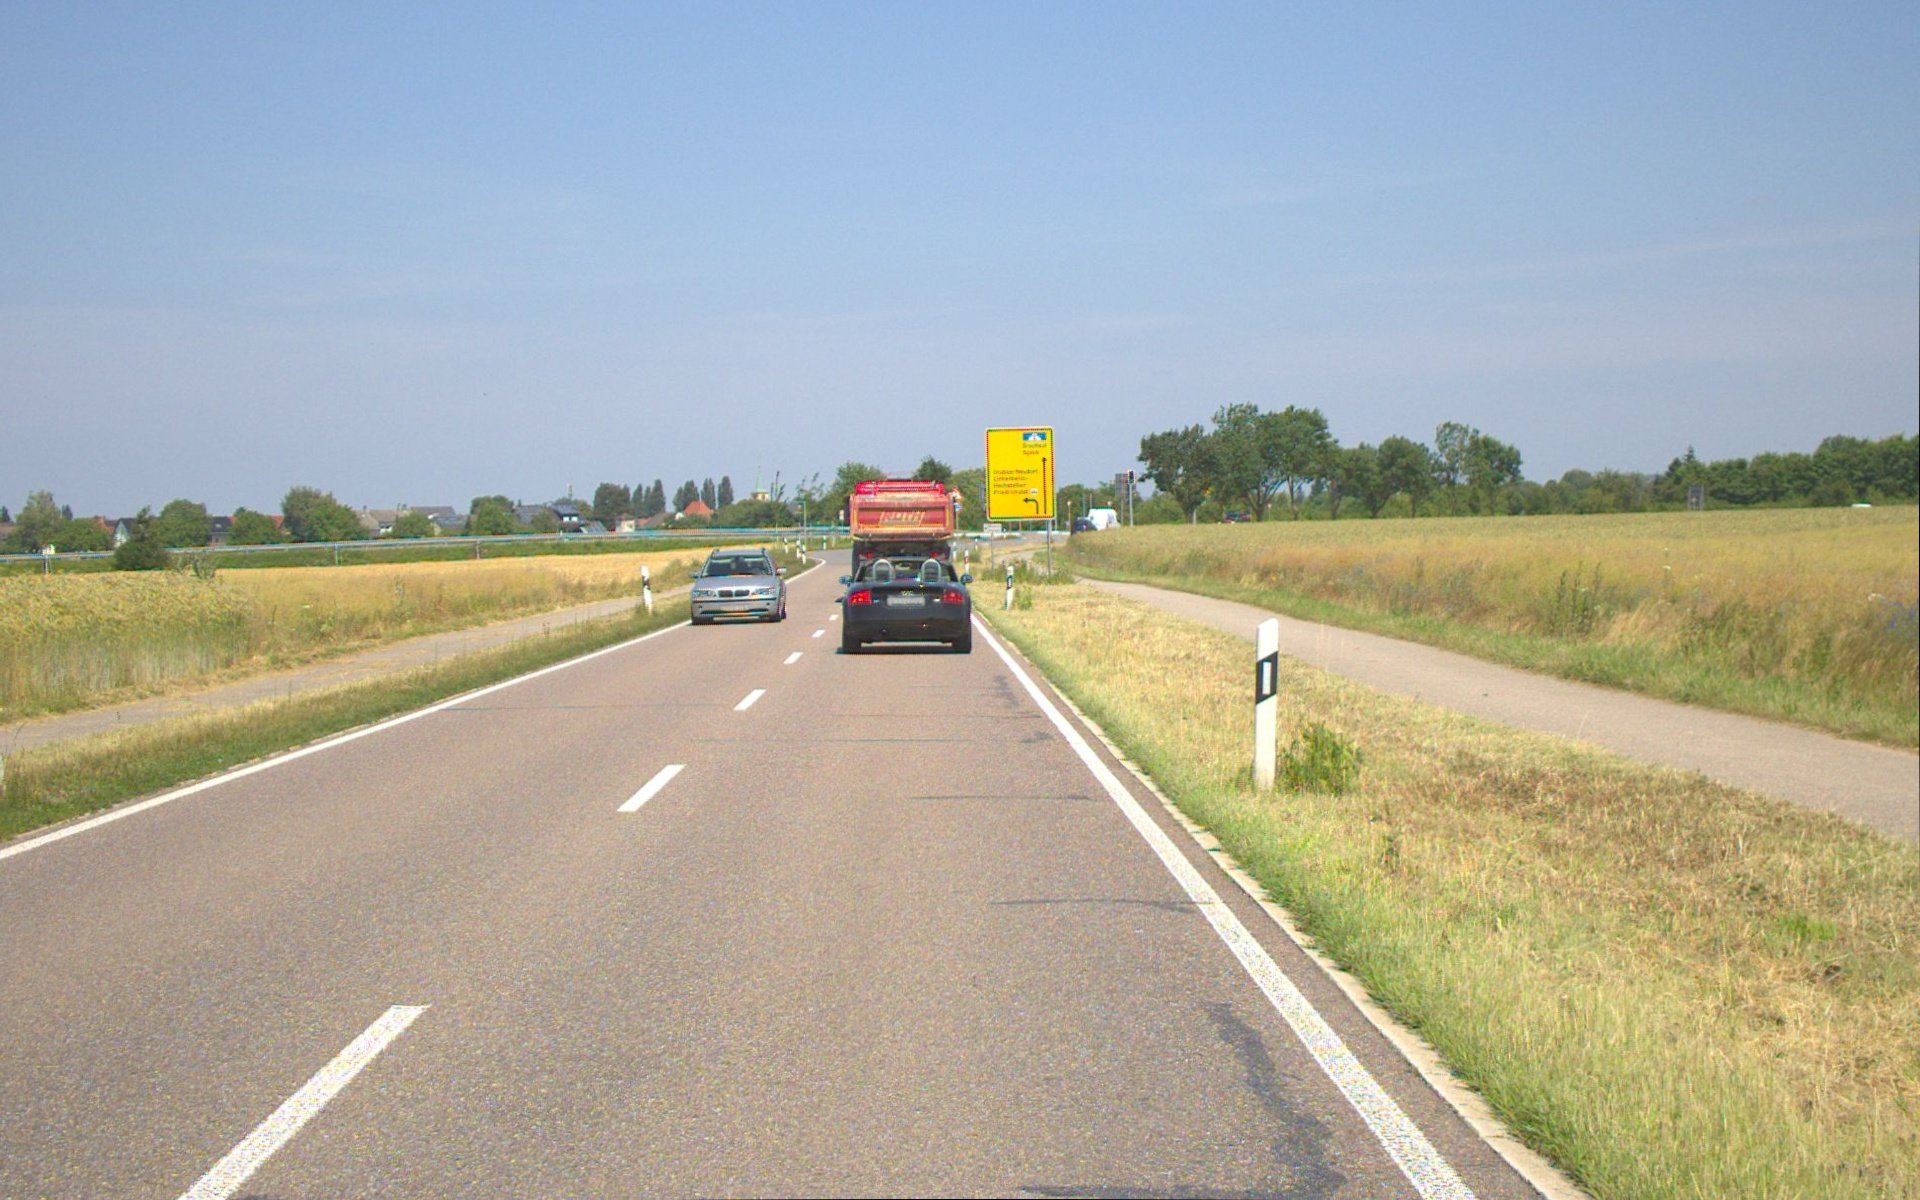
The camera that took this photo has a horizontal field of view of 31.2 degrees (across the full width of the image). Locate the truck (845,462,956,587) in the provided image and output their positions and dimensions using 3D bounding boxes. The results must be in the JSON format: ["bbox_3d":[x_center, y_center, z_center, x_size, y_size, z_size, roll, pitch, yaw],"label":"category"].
[{"bbox_3d":[-1.517,-1.899,88.151,2.714,3.042,8.165,0,1,-1],"label":"truck"}]

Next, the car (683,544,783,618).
[{"bbox_3d":[-4.427,-0.379,67.511,1.747,1.395,4.032,0,1,-1],"label":"car"}]

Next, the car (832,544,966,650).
[{"bbox_3d":[-0.824,-0.060,47.035,1.747,1.371,3.679,1,1,-1],"label":"car"}]
